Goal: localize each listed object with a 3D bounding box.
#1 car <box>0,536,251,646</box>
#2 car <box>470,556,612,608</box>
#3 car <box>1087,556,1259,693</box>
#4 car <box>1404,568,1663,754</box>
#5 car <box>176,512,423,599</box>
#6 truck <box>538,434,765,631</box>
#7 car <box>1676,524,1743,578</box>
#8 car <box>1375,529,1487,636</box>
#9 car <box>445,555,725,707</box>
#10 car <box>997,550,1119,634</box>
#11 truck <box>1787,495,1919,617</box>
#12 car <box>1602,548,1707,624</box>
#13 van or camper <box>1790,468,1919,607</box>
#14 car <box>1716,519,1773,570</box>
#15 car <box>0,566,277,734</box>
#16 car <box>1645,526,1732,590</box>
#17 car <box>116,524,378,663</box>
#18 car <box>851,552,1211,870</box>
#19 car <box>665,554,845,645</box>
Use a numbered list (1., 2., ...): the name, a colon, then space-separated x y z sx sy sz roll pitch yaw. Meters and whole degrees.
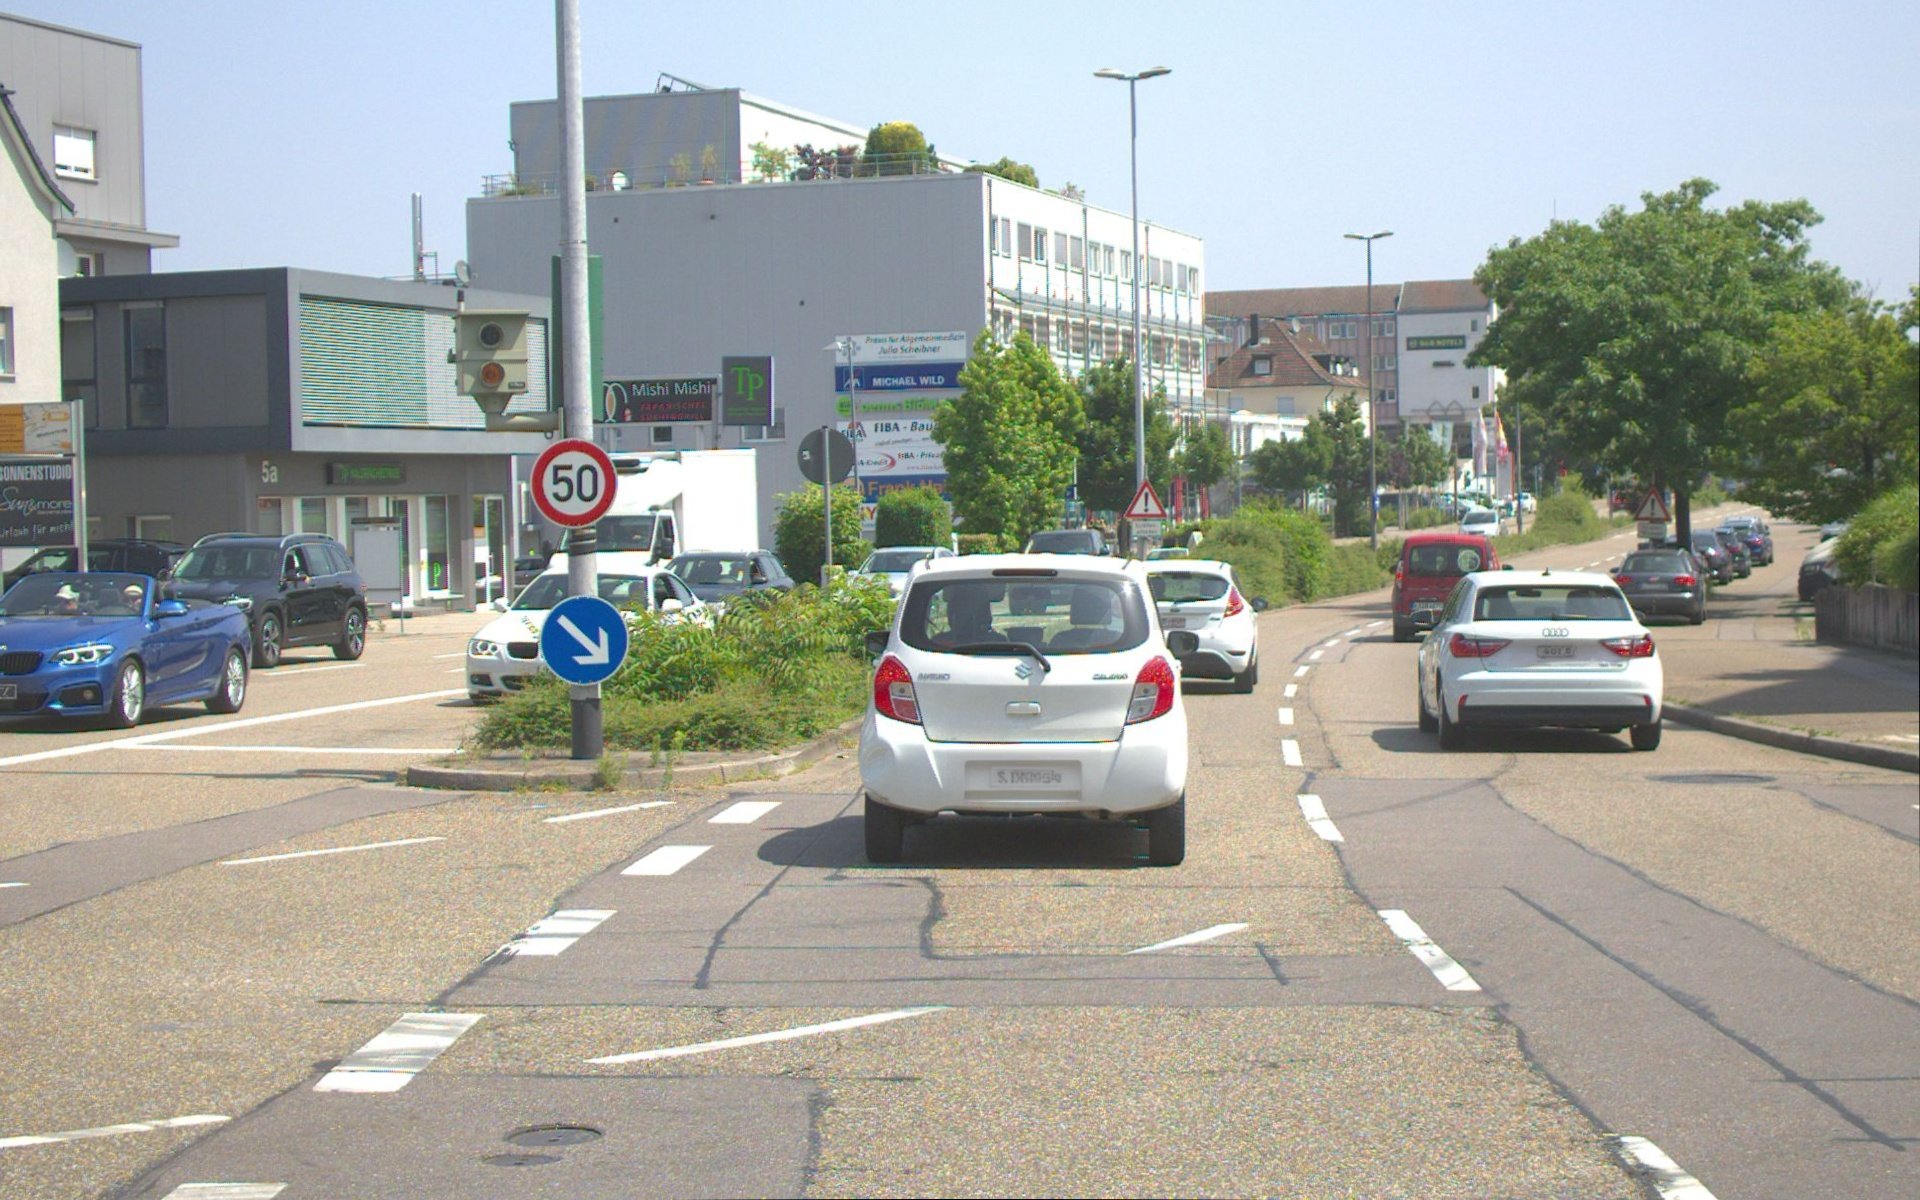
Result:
1. car: -14.512 -0.178 58.002 4.609 1.622 1.853 3 2 15
2. car: -13.115 -0.572 107.750 3.973 1.462 1.963 -1 2 11
3. car: 2.429 0.235 38.877 1.830 1.445 4.000 0 1 4
4. car: 4.611 0.447 28.074 1.667 1.394 3.793 0 1 3
5. car: -12.360 -0.836 64.450 4.058 1.516 1.999 -1 1 13
6. truck: -5.536 -1.181 62.888 2.265 3.406 7.035 0 0 11
7. car: 22.061 -1.463 101.077 1.855 1.476 5.154 -1 2 13
8. car: 7.919 -0.318 57.749 1.795 1.723 3.971 0 1 8
9. car: -3.726 0.261 35.002 1.863 1.426 4.743 0 1 6
10. car: 2.164 -0.178 74.627 1.910 1.745 4.758 0 0 11
11. truck: 20.043 -0.973 69.522 6.250 2.328 2.367 -2 2 17
12. car: 13.510 -0.298 66.722 1.798 1.401 4.317 1 1 14
13. van or camper: 21.398 -1.420 73.851 6.801 2.888 2.274 -1 2 15
14. car: 25.560 -1.822 111.908 1.714 1.543 4.788 -2 1 14
15. car: -7.696 0.391 30.526 1.863 1.361 4.345 1 1 8
16. car: 20.220 -1.187 95.302 1.962 1.525 5.157 -3 1 16
17. car: -9.122 -0.129 44.389 1.994 1.650 4.593 -1 1 6
18. car: 0.444 0.522 18.052 1.712 1.505 3.246 0 0 4
19. car: -3.130 -0.029 53.333 1.898 1.356 4.196 0 1 9
